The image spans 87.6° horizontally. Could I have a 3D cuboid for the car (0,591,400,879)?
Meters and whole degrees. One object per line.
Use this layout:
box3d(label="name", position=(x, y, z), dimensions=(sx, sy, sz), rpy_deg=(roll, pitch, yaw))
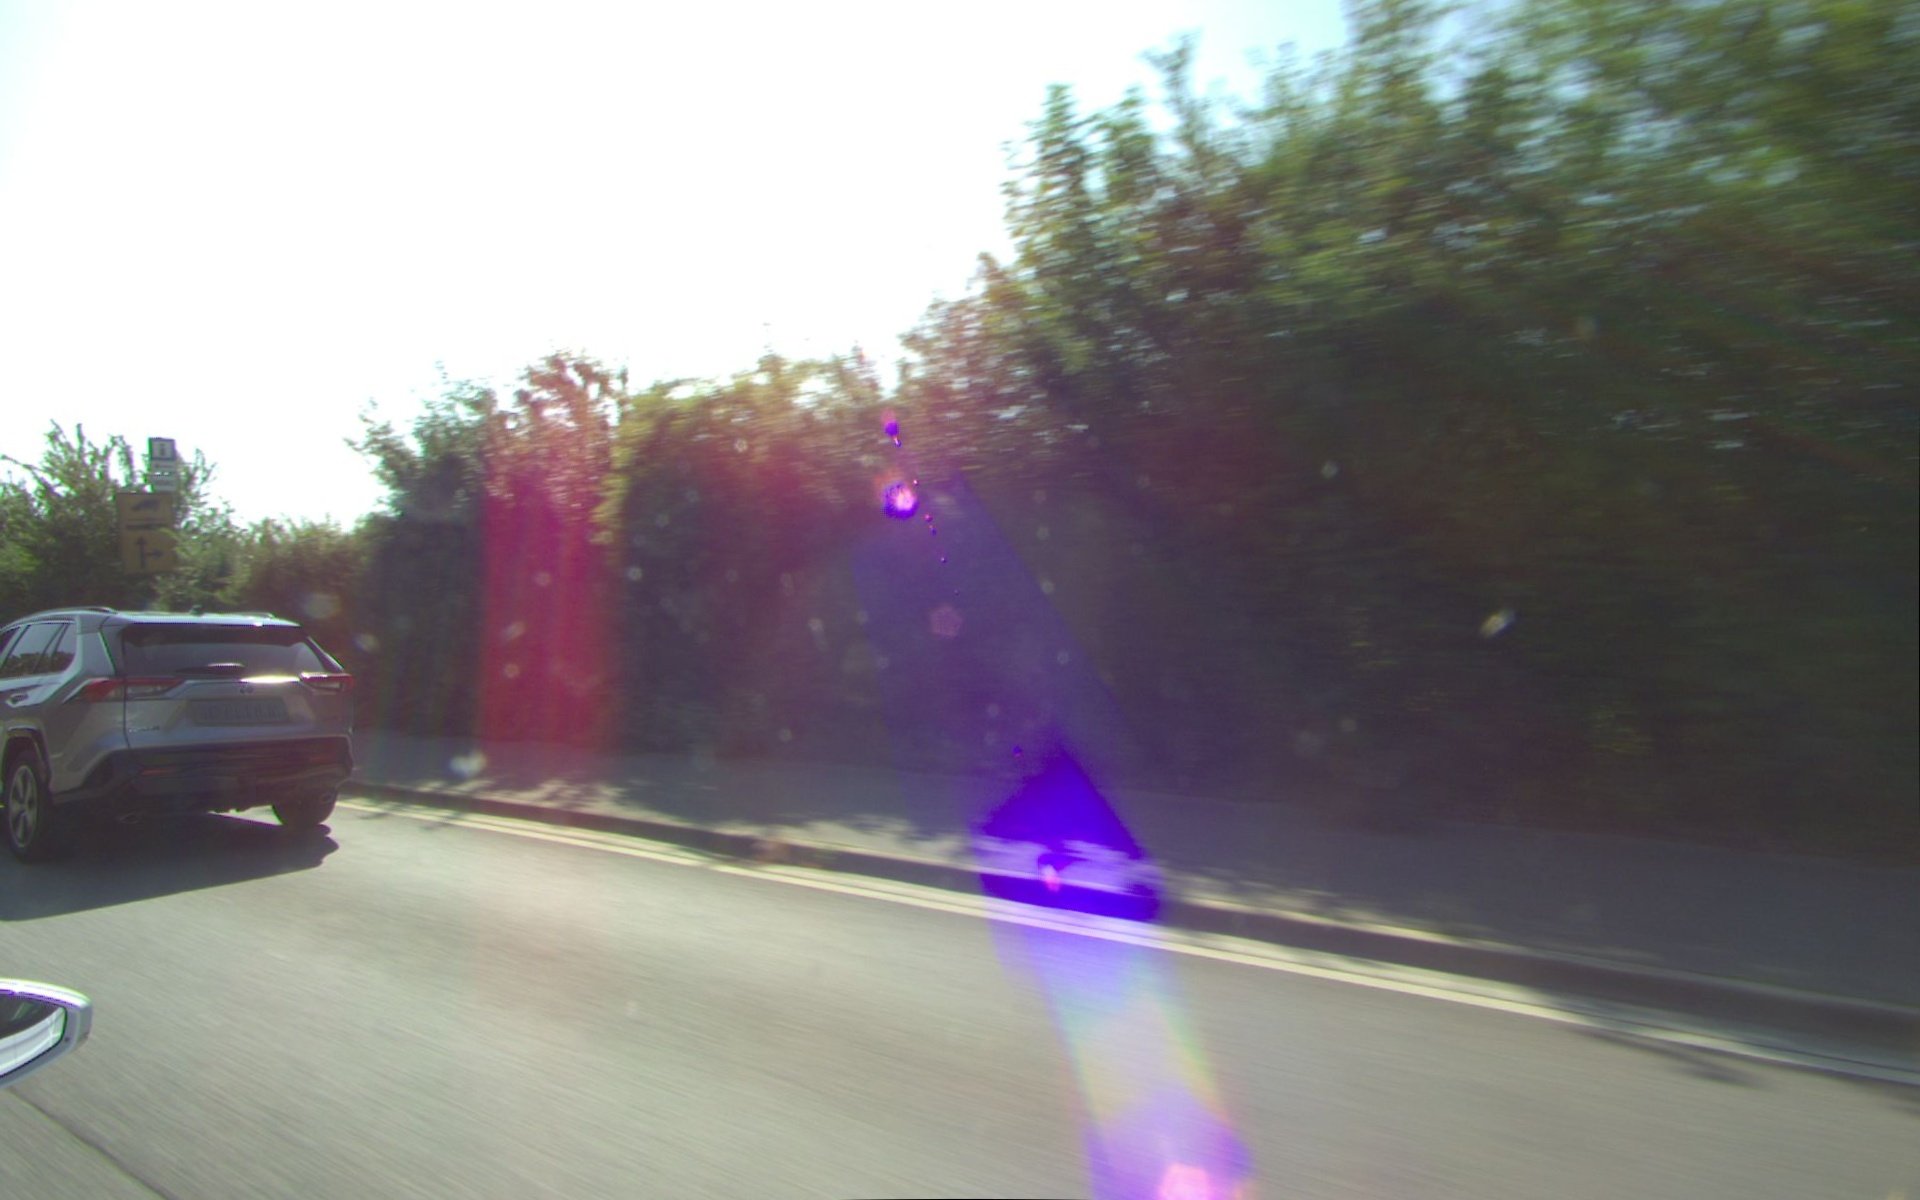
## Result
box3d(label="car", position=(-6.685, 0.875, 7.983), dimensions=(4.616, 1.701, 1.899), rpy_deg=(-1, -3, 32))
